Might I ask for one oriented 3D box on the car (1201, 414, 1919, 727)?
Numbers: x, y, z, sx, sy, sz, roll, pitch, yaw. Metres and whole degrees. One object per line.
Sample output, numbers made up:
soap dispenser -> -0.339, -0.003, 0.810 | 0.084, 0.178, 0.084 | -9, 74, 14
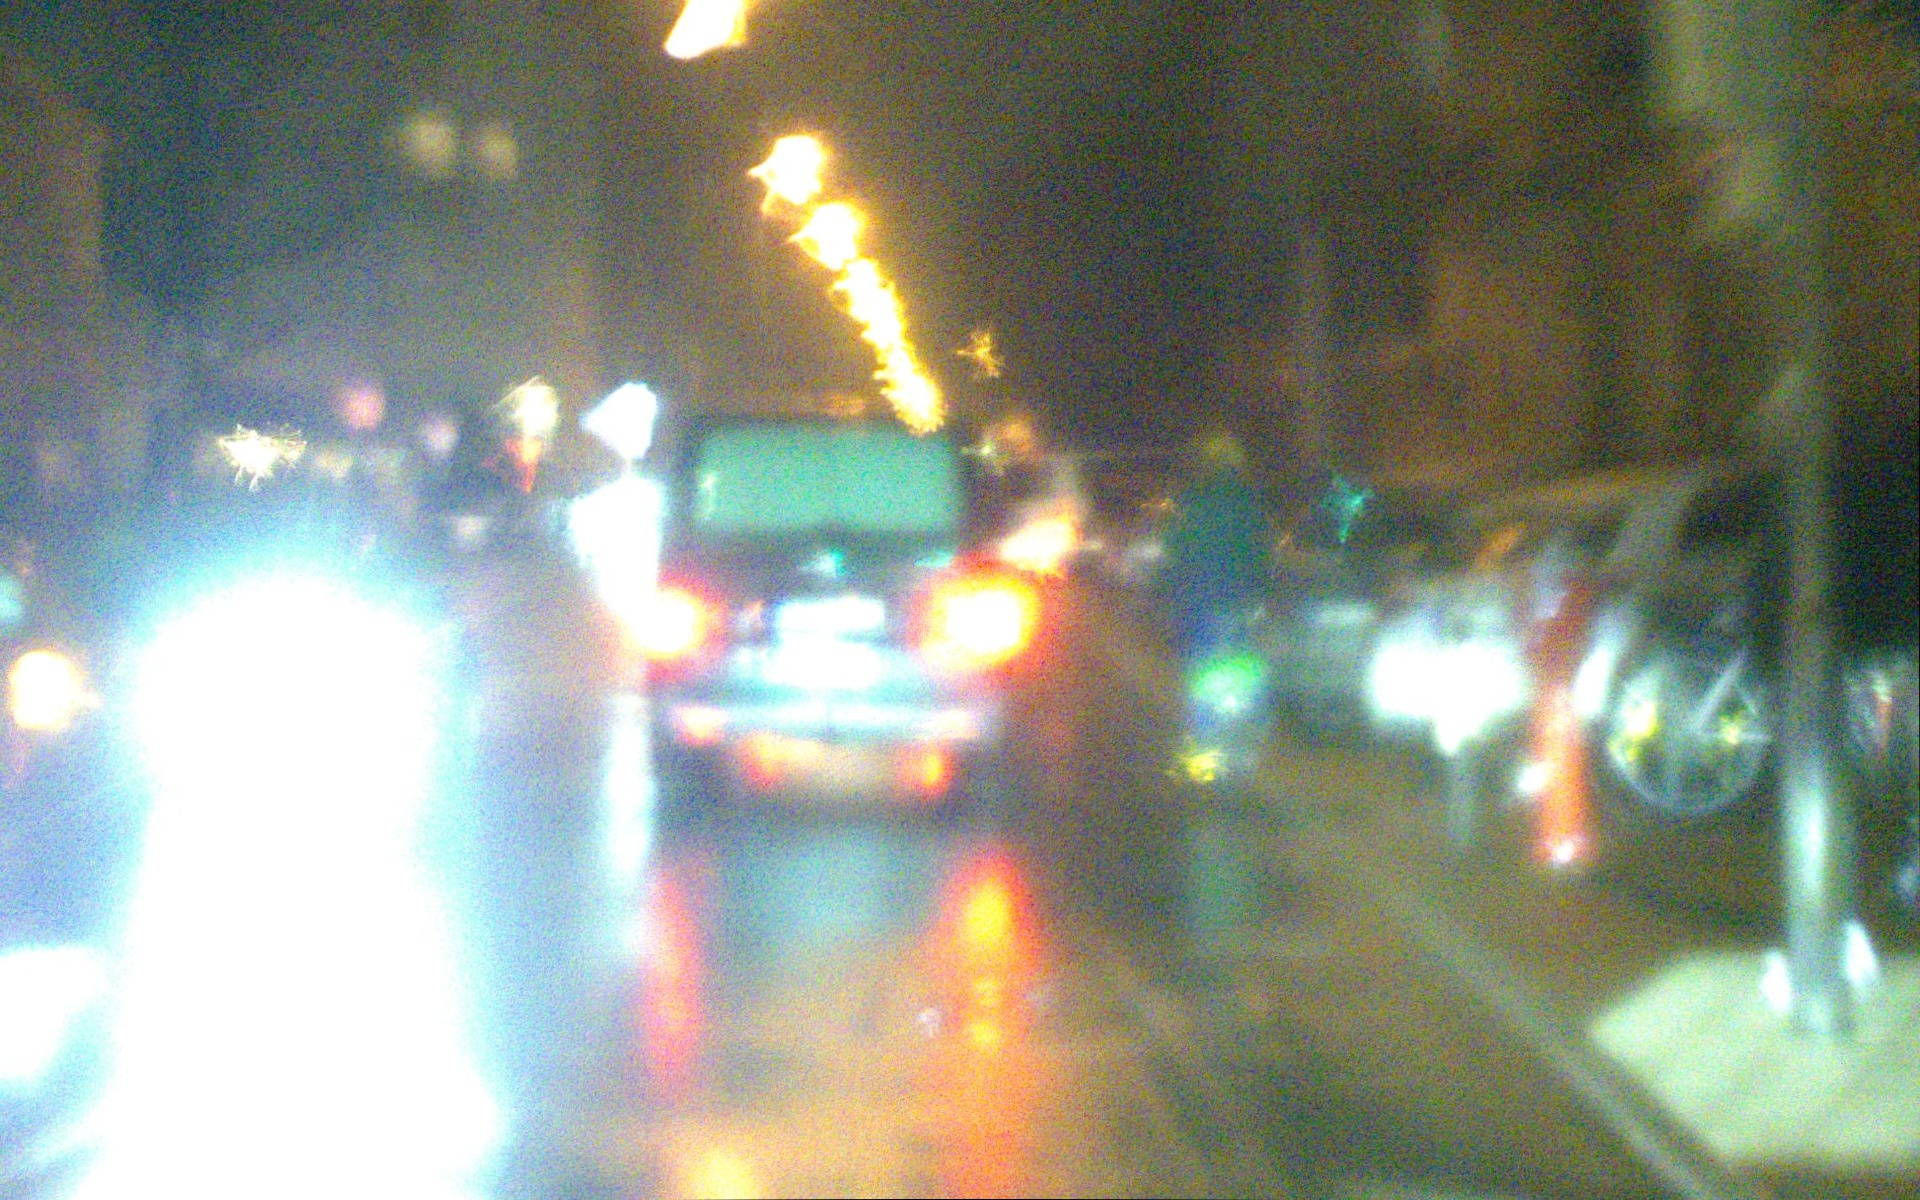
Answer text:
car -> 3.638, -0.248, 20.408 | 4.173, 1.571, 1.882 | -4, 4, -38

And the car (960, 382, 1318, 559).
car -> 2.661, -1.928, 50.357 | 4.995, 2.383, 2.139 | -4, 4, -38

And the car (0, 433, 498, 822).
car -> -3.356, 0.015, 16.157 | 1.787, 1.548, 4.855 | 0, 2, -1

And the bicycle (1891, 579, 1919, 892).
bicycle -> 4.778, 0.509, 13.766 | 1.896, 1.247, 0.596 | -2, 2, -5

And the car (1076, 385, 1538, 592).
car -> 3.144, -1.027, 30.578 | 4.174, 1.639, 1.661 | -5, 4, -41

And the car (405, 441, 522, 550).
car -> -9.269, -1.964, 63.991 | 1.724, 1.965, 3.729 | -1, 2, -15

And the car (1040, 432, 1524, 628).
car -> 3.042, -0.698, 32.530 | 4.171, 1.639, 1.771 | -3, 3, -21

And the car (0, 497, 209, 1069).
car -> -3.273, 0.458, 9.233 | 1.668, 1.416, 4.098 | 0, 2, -1

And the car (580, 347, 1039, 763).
car -> -0.733, -0.304, 18.633 | 2.168, 1.965, 4.302 | -1, 2, 0

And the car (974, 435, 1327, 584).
car -> 2.386, -1.143, 42.450 | 4.174, 1.639, 1.770 | -4, 4, -38

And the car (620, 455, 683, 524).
car -> -8.927, -3.233, 99.815 | 1.724, 1.965, 4.222 | 0, 2, -4

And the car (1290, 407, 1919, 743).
car -> 3.870, -0.216, 17.581 | 4.173, 1.452, 1.857 | -4, 4, -38

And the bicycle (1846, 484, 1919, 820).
bicycle -> 4.744, 0.167, 14.346 | 1.896, 1.355, 0.596 | -2, 2, -5

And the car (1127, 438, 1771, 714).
car -> 3.340, -0.226, 23.183 | 4.173, 1.584, 1.731 | -4, 4, -33
